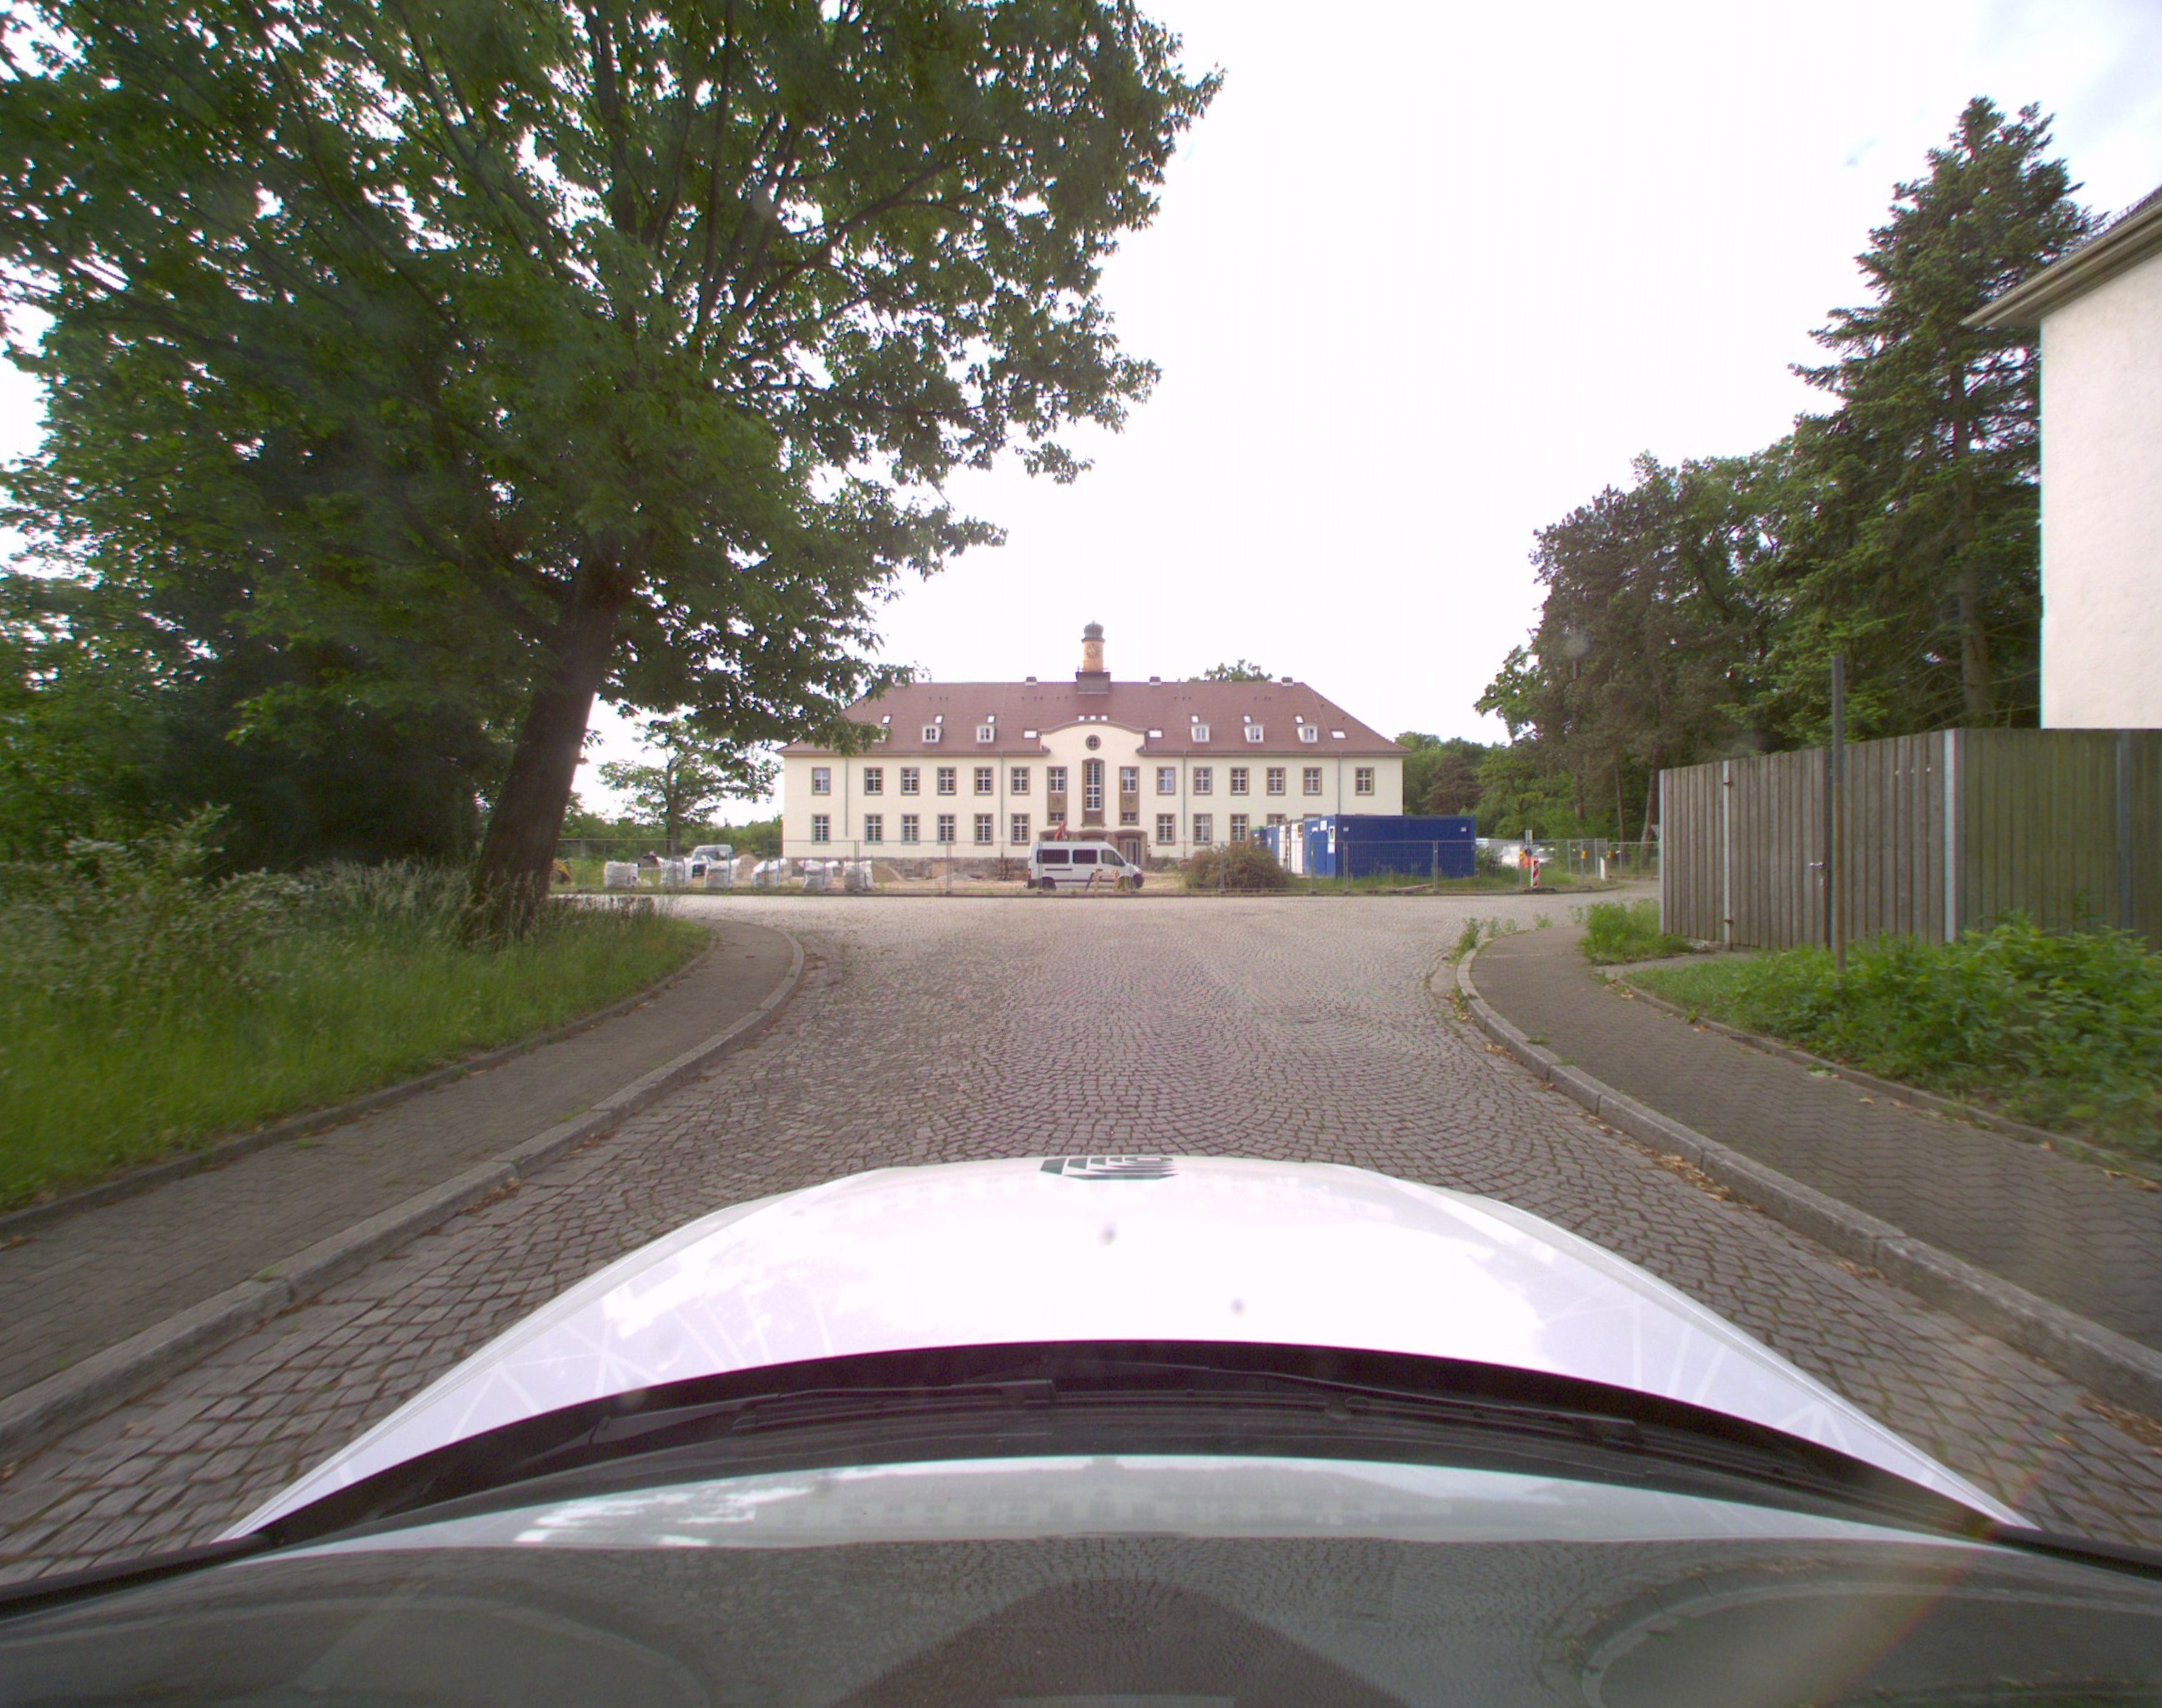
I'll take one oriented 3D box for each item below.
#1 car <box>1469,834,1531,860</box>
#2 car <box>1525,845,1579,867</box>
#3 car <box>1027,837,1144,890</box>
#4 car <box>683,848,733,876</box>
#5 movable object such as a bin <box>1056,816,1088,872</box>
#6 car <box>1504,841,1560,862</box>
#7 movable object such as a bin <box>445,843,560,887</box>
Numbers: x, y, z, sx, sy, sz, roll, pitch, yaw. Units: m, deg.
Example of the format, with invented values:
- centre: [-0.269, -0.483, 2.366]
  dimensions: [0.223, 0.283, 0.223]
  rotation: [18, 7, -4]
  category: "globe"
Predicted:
- centre: [33.207, -0.538, 64.496]
  dimensions: [5.439, 2.043, 1.747]
  rotation: [0, 0, -31]
  category: "car"
- centre: [33.550, 0.132, 57.990]
  dimensions: [4.000, 1.487, 1.605]
  rotation: [0, 1, -31]
  category: "car"
- centre: [0.238, 0.427, 37.586]
  dimensions: [5.243, 2.344, 1.911]
  rotation: [0, 0, 1]
  category: "car"
- centre: [-29.482, 0.603, 64.509]
  dimensions: [2.064, 2.150, 4.889]
  rotation: [0, 0, -6]
  category: "car"
- centre: [-0.675, -0.670, 57.197]
  dimensions: [1.989, 3.771, 5.311]
  rotation: [0, 0, -3]
  category: "movable object such as a bin"
- centre: [34.116, -0.185, 61.603]
  dimensions: [4.460, 1.502, 1.747]
  rotation: [0, 0, -31]
  category: "car"
- centre: [-34.461, 0.632, 48.633]
  dimensions: [5.314, 2.556, 1.999]
  rotation: [0, 0, -2]
  category: "movable object such as a bin"
